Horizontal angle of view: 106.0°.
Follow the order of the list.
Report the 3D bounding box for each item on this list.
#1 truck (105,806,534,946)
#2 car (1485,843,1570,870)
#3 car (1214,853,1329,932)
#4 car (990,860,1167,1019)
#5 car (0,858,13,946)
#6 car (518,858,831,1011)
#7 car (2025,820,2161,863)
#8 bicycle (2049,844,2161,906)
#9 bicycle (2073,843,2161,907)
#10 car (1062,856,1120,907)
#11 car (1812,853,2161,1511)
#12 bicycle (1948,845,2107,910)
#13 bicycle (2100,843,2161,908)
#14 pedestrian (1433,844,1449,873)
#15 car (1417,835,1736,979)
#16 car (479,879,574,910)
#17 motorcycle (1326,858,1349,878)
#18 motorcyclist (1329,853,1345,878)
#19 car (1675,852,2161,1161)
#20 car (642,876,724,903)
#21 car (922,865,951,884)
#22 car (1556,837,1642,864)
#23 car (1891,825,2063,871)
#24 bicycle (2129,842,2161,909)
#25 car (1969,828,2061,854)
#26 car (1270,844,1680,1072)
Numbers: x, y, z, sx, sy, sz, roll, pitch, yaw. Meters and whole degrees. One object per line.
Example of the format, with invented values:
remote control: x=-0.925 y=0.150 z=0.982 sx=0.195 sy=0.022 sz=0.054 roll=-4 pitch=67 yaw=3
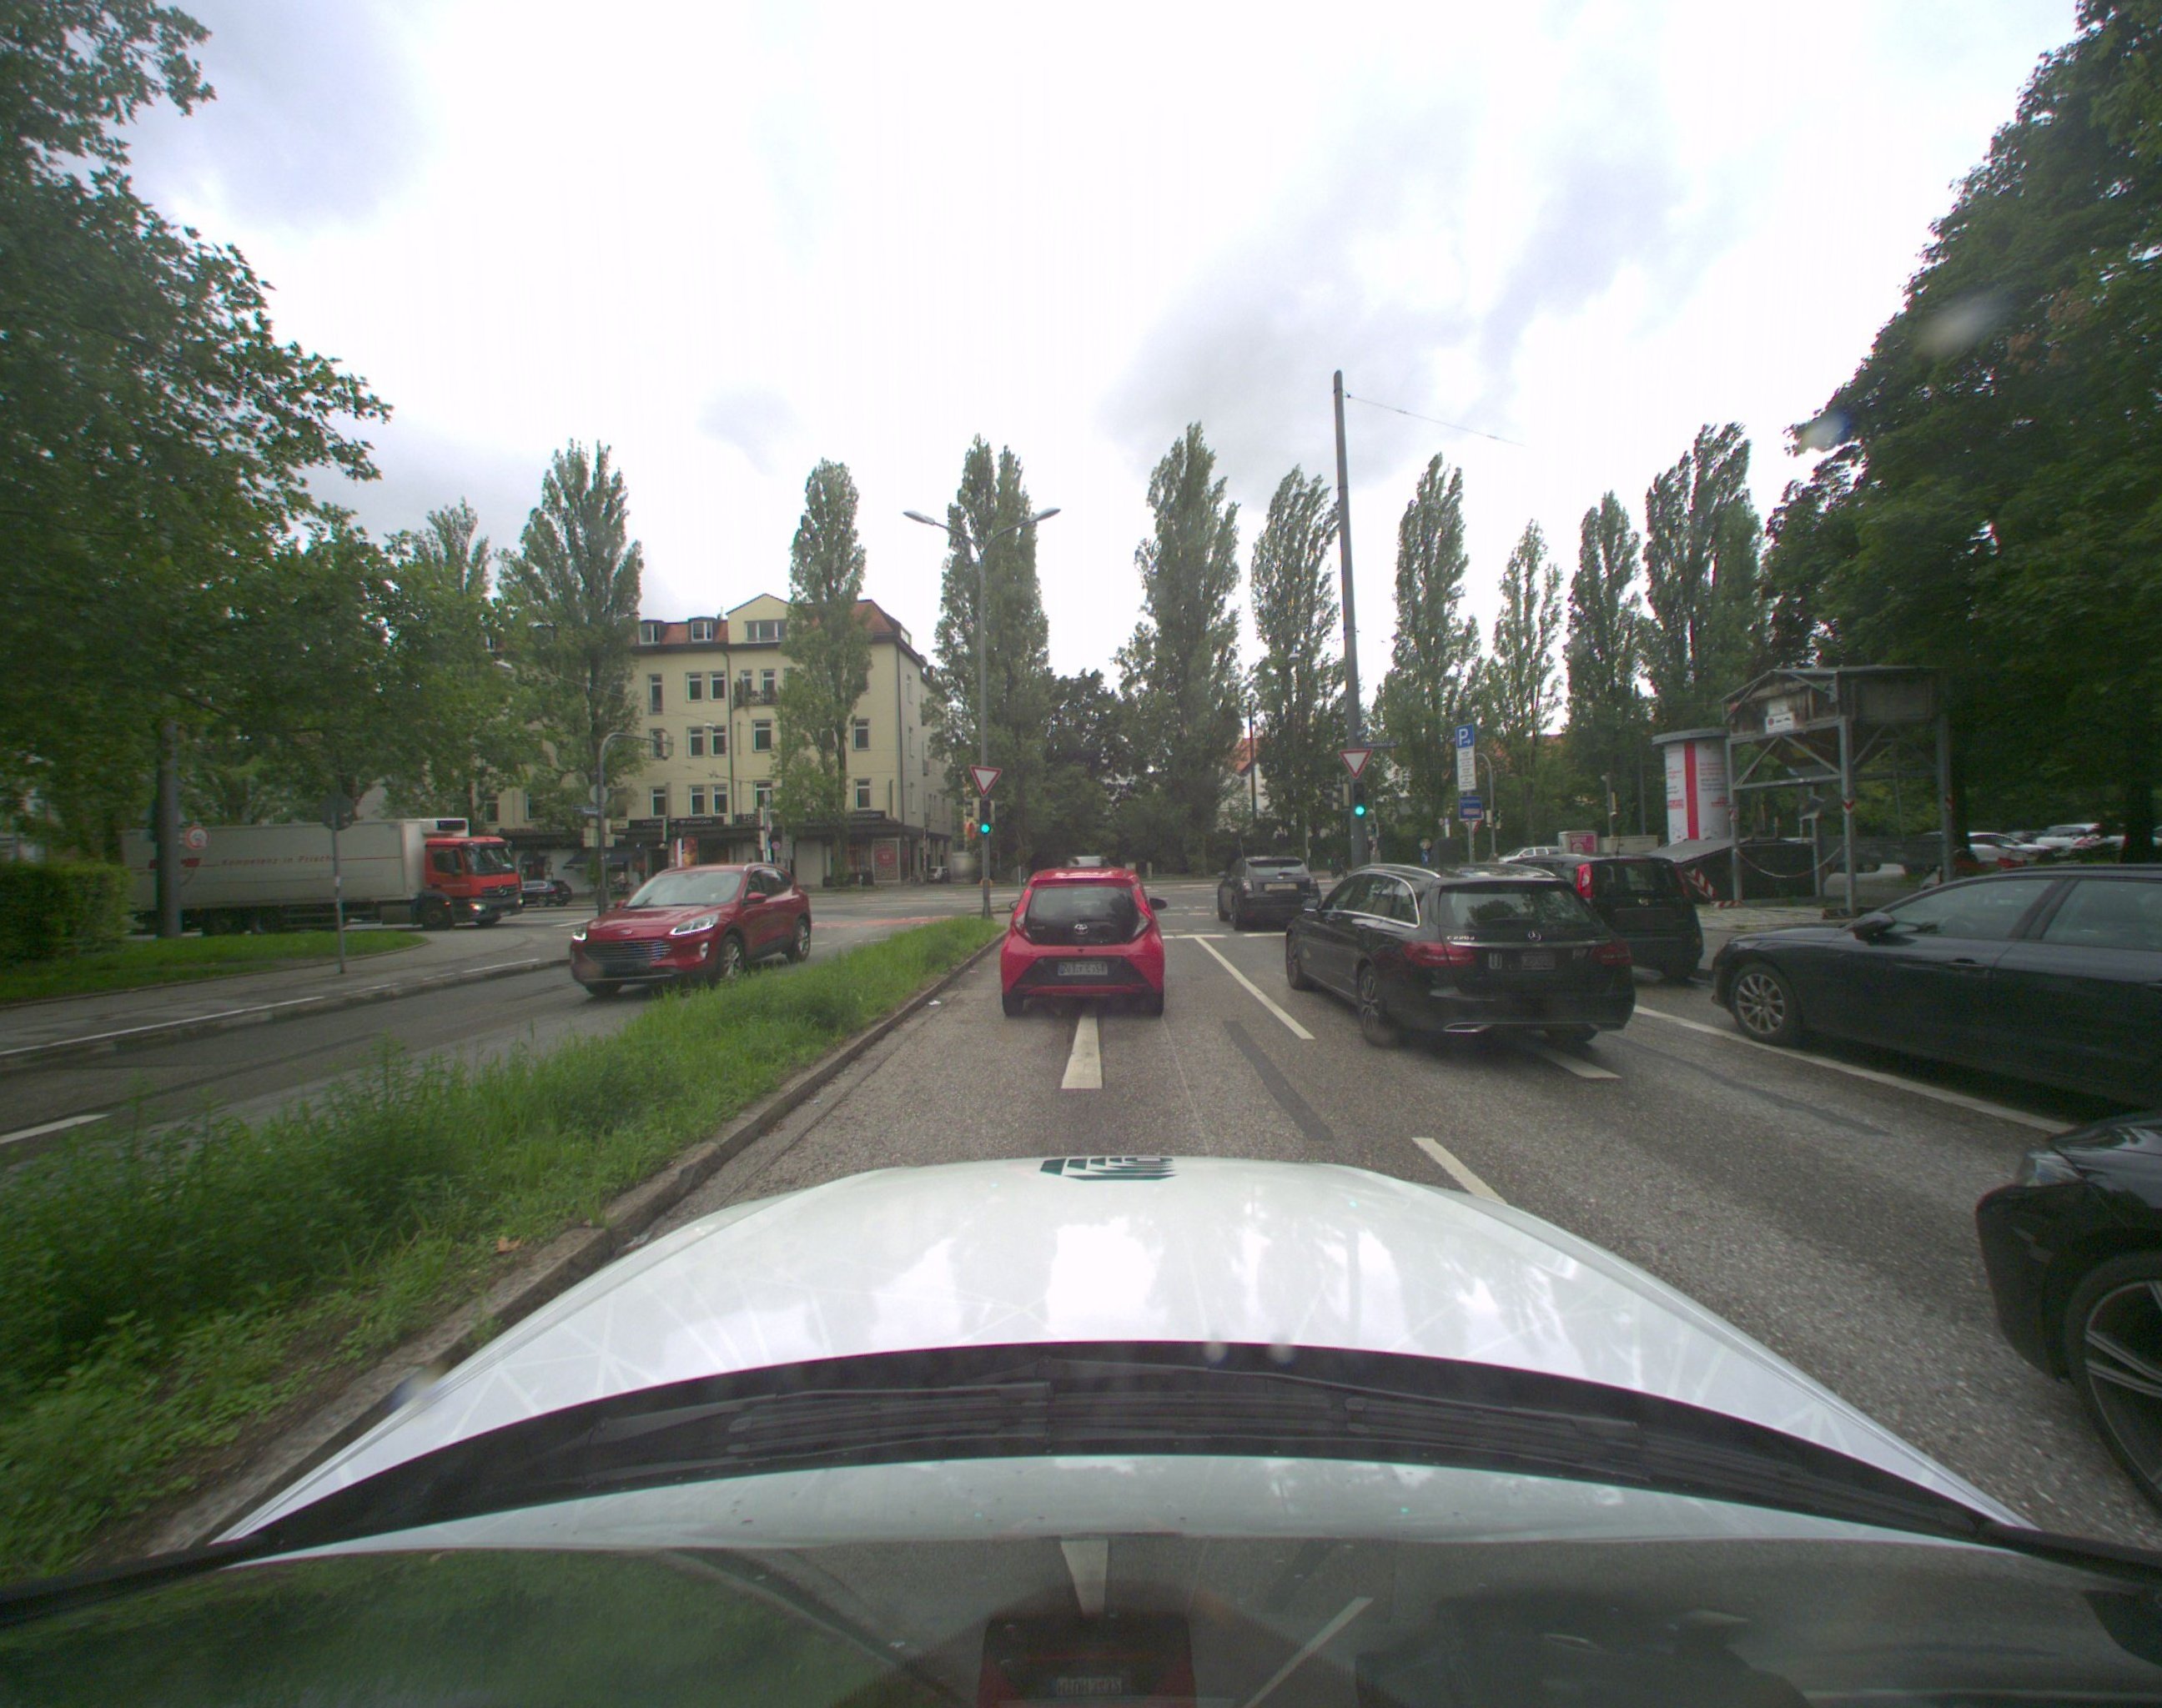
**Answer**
truck: x=-25.139 y=0.678 z=27.245 sx=11.636 sy=3.980 sz=2.749 roll=-2 pitch=0 yaw=1
car: x=27.862 y=0.179 z=50.899 sx=4.324 sy=1.486 sz=1.786 roll=-2 pitch=-1 yaw=0
car: x=4.058 y=0.786 z=17.982 sx=1.773 sy=1.486 sz=4.004 roll=-2 pitch=-1 yaw=4
car: x=0.063 y=0.817 z=9.361 sx=1.622 sy=1.440 sz=3.379 roll=-2 pitch=0 yaw=3
car: x=-22.415 y=0.971 z=13.951 sx=1.975 sy=2.013 sz=4.658 roll=-2 pitch=5 yaw=43
car: x=-5.553 y=0.957 z=12.083 sx=2.097 sy=1.637 sz=4.938 roll=-3 pitch=1 yaw=0
car: x=36.985 y=-0.462 z=29.241 sx=4.351 sy=1.407 sz=1.729 roll=-2 pitch=-1 yaw=-4
bicycle: x=15.213 y=0.306 z=11.970 sx=1.400 sy=0.894 sz=0.314 roll=-1 pitch=-1 yaw=8
bicycle: x=15.152 y=0.299 z=11.621 sx=1.400 sy=0.894 sz=0.314 roll=-1 pitch=-1 yaw=8
car: x=0.428 y=0.895 z=28.057 sx=1.728 sy=1.549 sz=4.580 roll=-2 pitch=0 yaw=3
car: x=3.116 y=0.686 z=0.160 sx=1.717 sy=1.389 sz=4.800 roll=-2 pitch=0 yaw=2
bicycle: x=15.461 y=0.368 z=13.313 sx=2.232 sy=1.016 sz=0.628 roll=0 pitch=-1 yaw=-10
bicycle: x=15.090 y=0.293 z=11.256 sx=1.400 sy=0.894 sz=0.314 roll=-1 pitch=-1 yaw=8
pedestrian: x=20.737 y=0.267 z=46.886 sx=0.693 sy=1.663 sz=0.555 roll=-2 pitch=-2 yaw=42
car: x=6.491 y=0.610 z=11.403 sx=1.823 sy=1.549 sz=4.557 roll=-2 pitch=0 yaw=3
car: x=-33.089 y=2.406 z=48.646 sx=4.440 sy=1.612 sz=1.727 roll=-2 pitch=-1 yaw=1
motorcycle: x=15.309 y=0.836 z=48.567 sx=0.627 sy=1.170 sz=2.027 roll=0 pitch=-1 yaw=-3
motorcyclist: x=15.299 y=0.677 z=48.609 sx=0.617 sy=1.443 sz=0.880 roll=0 pitch=-1 yaw=-3
car: x=6.138 y=0.745 z=4.862 sx=1.762 sy=1.461 sz=4.641 roll=-2 pitch=0 yaw=0
car: x=-23.848 y=2.120 z=48.893 sx=3.977 sy=1.466 sz=1.803 roll=-2 pitch=-1 yaw=-3
car: x=-12.145 y=1.717 z=68.712 sx=1.721 sy=1.442 sz=3.997 roll=-2 pitch=0 yaw=-2
car: x=32.761 y=-0.197 z=51.568 sx=4.231 sy=1.486 sz=1.786 roll=-2 pitch=-1 yaw=0
car: x=31.721 y=-0.201 z=28.903 sx=4.351 sy=1.407 sz=1.729 roll=-2 pitch=-1 yaw=-4
bicycle: x=15.049 y=0.286 z=10.916 sx=1.400 sy=0.894 sz=0.314 roll=-1 pitch=-1 yaw=8
car: x=61.242 y=-0.838 z=53.435 sx=4.117 sy=1.486 sz=1.784 roll=-2 pitch=-1 yaw=-3
car: x=3.235 y=0.730 z=7.920 sx=1.856 sy=1.549 sz=4.706 roll=0 pitch=0 yaw=2
